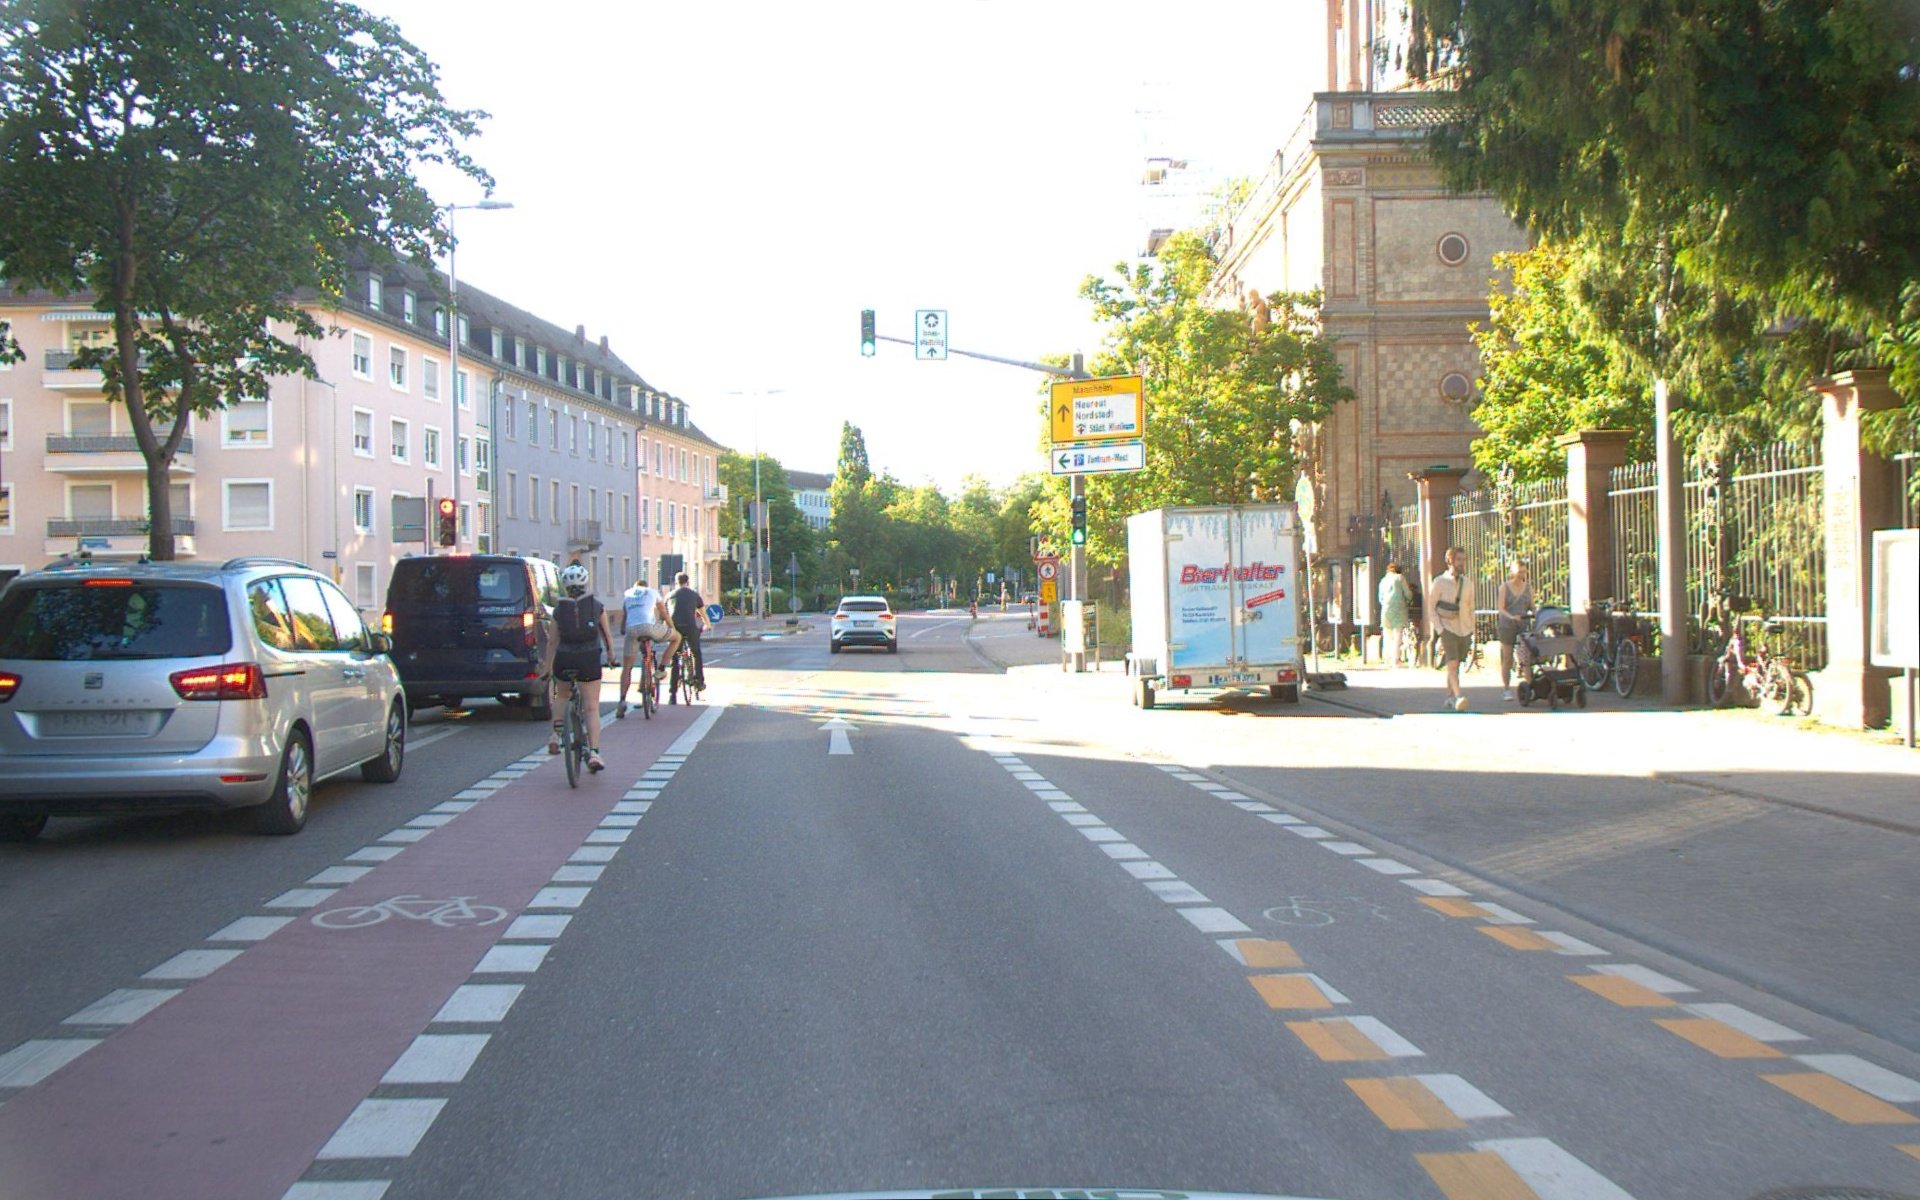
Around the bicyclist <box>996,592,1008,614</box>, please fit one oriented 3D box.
[{"bbox_3d":[3.074,0.198,121.044,0.731,1.564,0.970,-1,0,11],"label":"bicyclist"}]

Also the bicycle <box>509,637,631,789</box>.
[{"bbox_3d":[-3.122,0.871,13.384,0.655,1.091,1.752,0,0,-3],"label":"bicycle"}]

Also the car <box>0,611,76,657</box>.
[{"bbox_3d":[-29.741,1.065,52.196,1.573,1.333,3.999,-2,1,-1],"label":"car"}]

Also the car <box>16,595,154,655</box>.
[{"bbox_3d":[-27.503,0.740,52.167,1.953,1.715,4.613,-2,1,-2],"label":"car"}]

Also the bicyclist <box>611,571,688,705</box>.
[{"bbox_3d":[-3.895,0.465,20.819,0.786,1.636,0.825,-2,0,-2],"label":"bicyclist"}]

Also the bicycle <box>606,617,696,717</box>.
[{"bbox_3d":[-3.885,0.820,20.943,0.812,1.163,1.969,0,0,-2],"label":"bicycle"}]

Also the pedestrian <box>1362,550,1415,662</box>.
[{"bbox_3d":[7.044,0.098,27.219,0.626,1.799,0.737,-2,0,-1],"label":"pedestrian"}]

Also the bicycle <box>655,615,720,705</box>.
[{"bbox_3d":[-3.828,0.814,23.347,0.629,1.175,2.076,0,0,-2],"label":"bicycle"}]

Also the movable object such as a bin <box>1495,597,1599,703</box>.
[{"bbox_3d":[6.761,0.560,19.083,0.697,1.137,1.049,-3,1,-6],"label":"movable object such as a bin"}]

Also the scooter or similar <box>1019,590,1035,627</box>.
[{"bbox_3d":[2.534,0.319,62.118,0.544,1.331,1.833,-1,1,3],"label":"scooter or similar"}]

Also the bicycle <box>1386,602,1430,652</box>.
[{"bbox_3d":[7.577,0.452,28.022,0.259,0.807,1.450,-2,1,-3],"label":"bicycle"}]

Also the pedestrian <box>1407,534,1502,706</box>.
[{"bbox_3d":[5.754,0.221,19.271,0.701,1.927,0.888,-2,1,-7],"label":"pedestrian"}]

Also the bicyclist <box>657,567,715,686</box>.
[{"bbox_3d":[-3.852,0.367,23.323,0.656,1.636,0.825,-2,0,-2],"label":"bicyclist"}]

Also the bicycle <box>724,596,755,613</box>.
[{"bbox_3d":[-16.749,0.365,125.782,2.270,1.251,0.561,-2,0,11],"label":"bicycle"}]

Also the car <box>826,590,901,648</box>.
[{"bbox_3d":[-2.657,0.494,45.577,1.954,1.478,3.997,-2,0,-3],"label":"car"}]

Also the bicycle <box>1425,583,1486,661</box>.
[{"bbox_3d":[7.578,0.315,25.339,0.390,1.125,1.680,-3,1,0],"label":"bicycle"}]

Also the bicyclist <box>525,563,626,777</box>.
[{"bbox_3d":[-3.125,0.550,13.506,0.659,1.681,0.886,0,0,-4],"label":"bicyclist"}]

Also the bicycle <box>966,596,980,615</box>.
[{"bbox_3d":[0.769,0.320,94.770,0.629,1.042,2.214,0,1,5],"label":"bicycle"}]

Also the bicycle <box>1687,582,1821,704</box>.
[{"bbox_3d":[8.214,0.415,17.182,0.410,1.176,1.826,-3,1,-2],"label":"bicycle"}]

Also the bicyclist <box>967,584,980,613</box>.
[{"bbox_3d":[0.773,-0.107,94.726,0.622,1.642,1.285,0,0,5],"label":"bicyclist"}]

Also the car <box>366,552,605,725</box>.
[{"bbox_3d":[-6.028,0.449,21.680,2.028,1.949,5.028,-2,0,-5],"label":"car"}]

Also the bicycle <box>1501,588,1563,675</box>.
[{"bbox_3d":[7.815,0.417,22.636,0.268,1.125,1.532,-3,1,0],"label":"bicycle"}]

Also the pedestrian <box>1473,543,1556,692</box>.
[{"bbox_3d":[6.671,0.203,19.913,0.669,1.731,0.693,-2,1,-5],"label":"pedestrian"}]

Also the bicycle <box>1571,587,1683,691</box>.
[{"bbox_3d":[7.816,0.428,19.462,0.387,1.150,1.926,-1,1,-4],"label":"bicycle"}]

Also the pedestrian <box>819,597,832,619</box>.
[{"bbox_3d":[-11.466,0.664,140.749,0.837,1.883,1.002,-2,0,10],"label":"pedestrian"}]

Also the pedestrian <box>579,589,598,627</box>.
[{"bbox_3d":[-18.493,0.402,82.421,0.618,1.878,1.013,1,0,4],"label":"pedestrian"}]

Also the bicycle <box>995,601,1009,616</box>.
[{"bbox_3d":[3.087,0.612,121.038,0.737,1.044,1.871,0,0,11],"label":"bicycle"}]

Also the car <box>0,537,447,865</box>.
[{"bbox_3d":[-5.156,0.545,11.536,1.952,1.780,4.743,-2,1,-4],"label":"car"}]

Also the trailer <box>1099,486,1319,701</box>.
[{"bbox_3d":[3.300,-0.107,22.880,2.038,2.572,4.489,-3,1,-3],"label":"trailer"}]
